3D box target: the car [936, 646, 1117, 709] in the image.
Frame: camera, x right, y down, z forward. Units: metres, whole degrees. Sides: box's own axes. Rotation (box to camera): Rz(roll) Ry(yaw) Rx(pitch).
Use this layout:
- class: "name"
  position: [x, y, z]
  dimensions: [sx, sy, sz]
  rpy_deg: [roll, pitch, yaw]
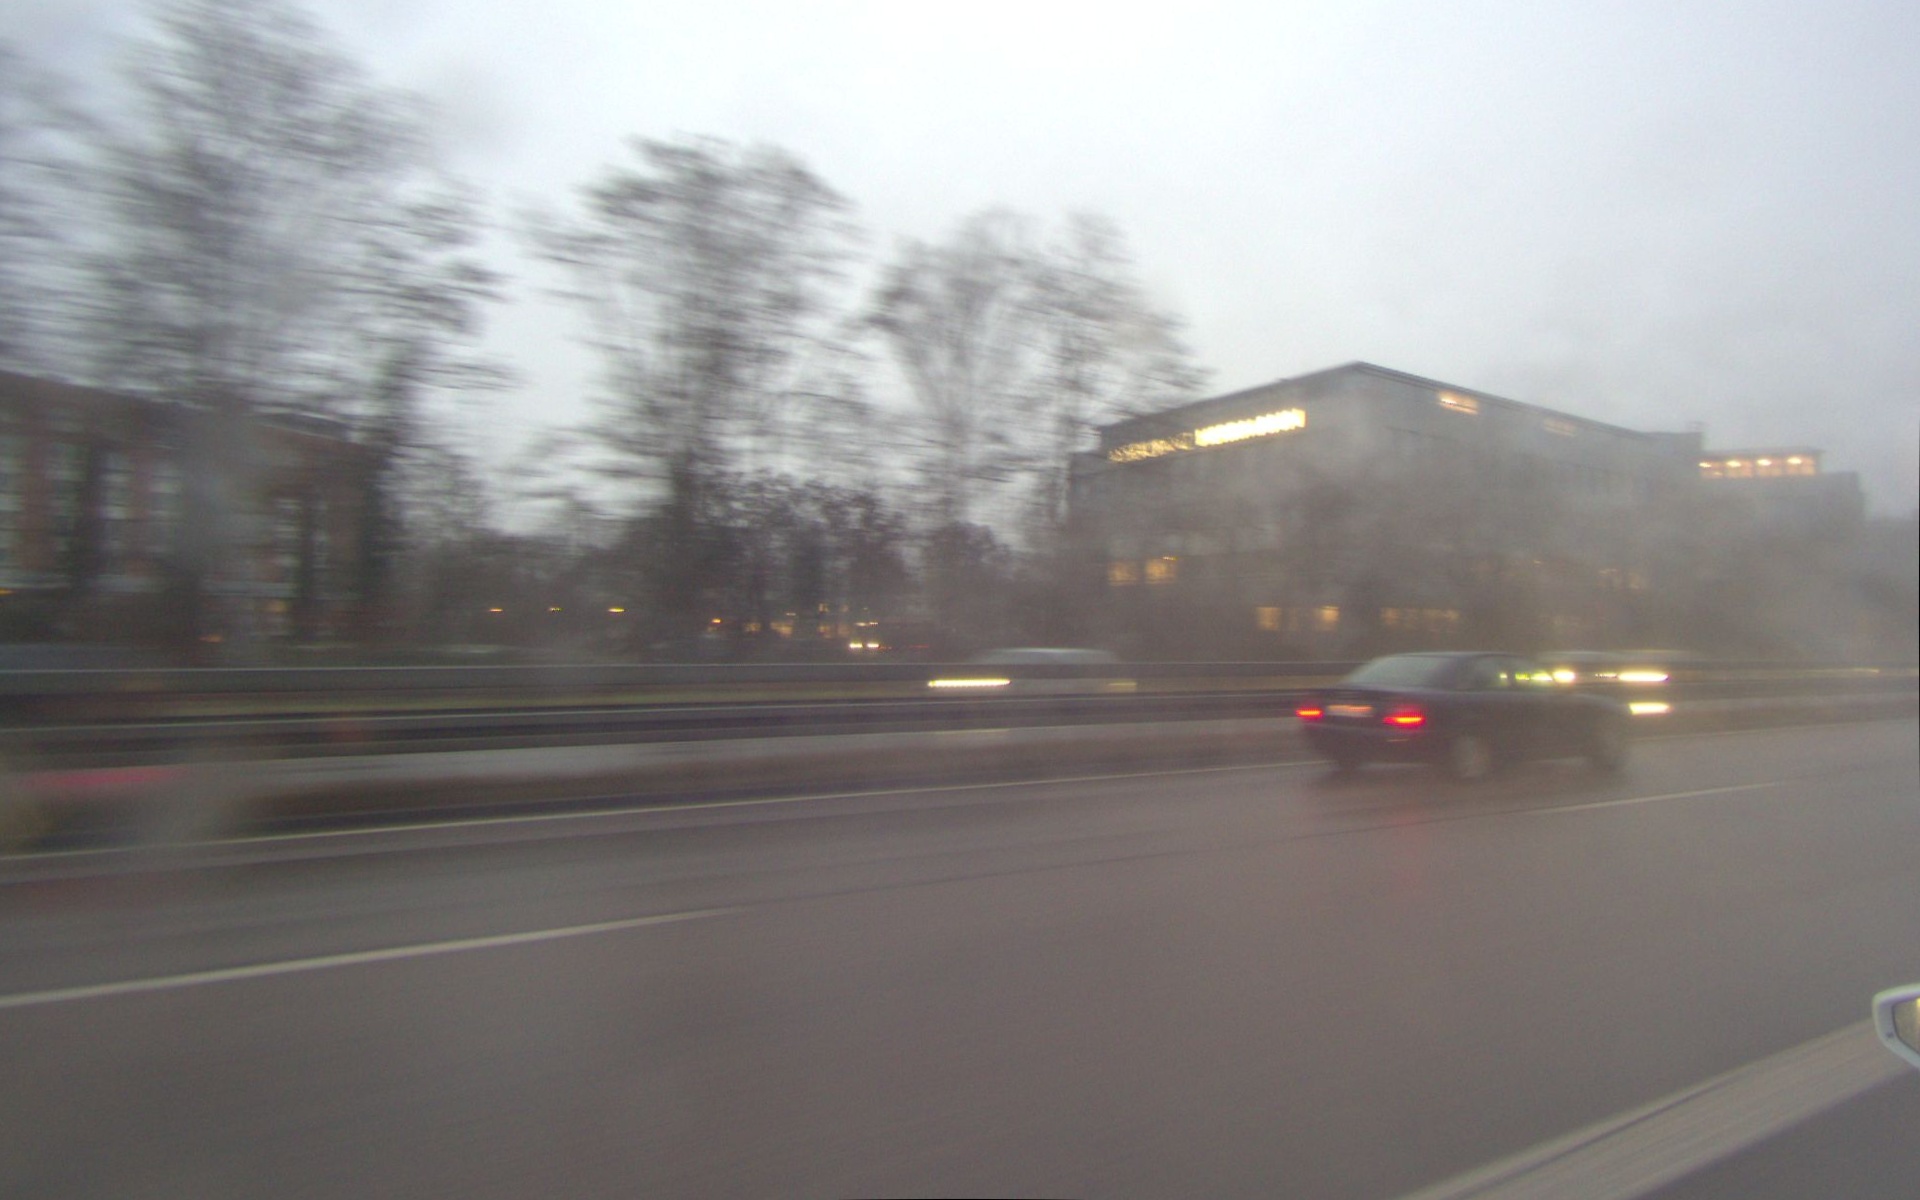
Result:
- class: "car"
  position: [1.654, 1.850, 24.376]
  dimensions: [4.205, 1.339, 1.538]
  rpy_deg: [2, 0, -29]

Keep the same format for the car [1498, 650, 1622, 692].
- class: "car"
  position: [20.739, 2.432, 34.697]
  dimensions: [4.629, 1.288, 1.538]
  rpy_deg: [2, 0, -29]

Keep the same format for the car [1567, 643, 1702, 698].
- class: "car"
  position: [20.196, 2.084, 30.037]
  dimensions: [4.308, 1.462, 1.538]
  rpy_deg: [2, 0, -29]

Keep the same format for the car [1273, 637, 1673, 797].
- class: "car"
  position: [5.997, 1.287, 11.654]
  dimensions: [4.643, 1.554, 1.770]
  rpy_deg: [3, -4, -27]

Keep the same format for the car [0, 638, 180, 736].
- class: "car"
  position: [-14.669, 1.276, 15.076]
  dimensions: [4.418, 1.339, 1.702]
  rpy_deg: [2, 0, -29]
